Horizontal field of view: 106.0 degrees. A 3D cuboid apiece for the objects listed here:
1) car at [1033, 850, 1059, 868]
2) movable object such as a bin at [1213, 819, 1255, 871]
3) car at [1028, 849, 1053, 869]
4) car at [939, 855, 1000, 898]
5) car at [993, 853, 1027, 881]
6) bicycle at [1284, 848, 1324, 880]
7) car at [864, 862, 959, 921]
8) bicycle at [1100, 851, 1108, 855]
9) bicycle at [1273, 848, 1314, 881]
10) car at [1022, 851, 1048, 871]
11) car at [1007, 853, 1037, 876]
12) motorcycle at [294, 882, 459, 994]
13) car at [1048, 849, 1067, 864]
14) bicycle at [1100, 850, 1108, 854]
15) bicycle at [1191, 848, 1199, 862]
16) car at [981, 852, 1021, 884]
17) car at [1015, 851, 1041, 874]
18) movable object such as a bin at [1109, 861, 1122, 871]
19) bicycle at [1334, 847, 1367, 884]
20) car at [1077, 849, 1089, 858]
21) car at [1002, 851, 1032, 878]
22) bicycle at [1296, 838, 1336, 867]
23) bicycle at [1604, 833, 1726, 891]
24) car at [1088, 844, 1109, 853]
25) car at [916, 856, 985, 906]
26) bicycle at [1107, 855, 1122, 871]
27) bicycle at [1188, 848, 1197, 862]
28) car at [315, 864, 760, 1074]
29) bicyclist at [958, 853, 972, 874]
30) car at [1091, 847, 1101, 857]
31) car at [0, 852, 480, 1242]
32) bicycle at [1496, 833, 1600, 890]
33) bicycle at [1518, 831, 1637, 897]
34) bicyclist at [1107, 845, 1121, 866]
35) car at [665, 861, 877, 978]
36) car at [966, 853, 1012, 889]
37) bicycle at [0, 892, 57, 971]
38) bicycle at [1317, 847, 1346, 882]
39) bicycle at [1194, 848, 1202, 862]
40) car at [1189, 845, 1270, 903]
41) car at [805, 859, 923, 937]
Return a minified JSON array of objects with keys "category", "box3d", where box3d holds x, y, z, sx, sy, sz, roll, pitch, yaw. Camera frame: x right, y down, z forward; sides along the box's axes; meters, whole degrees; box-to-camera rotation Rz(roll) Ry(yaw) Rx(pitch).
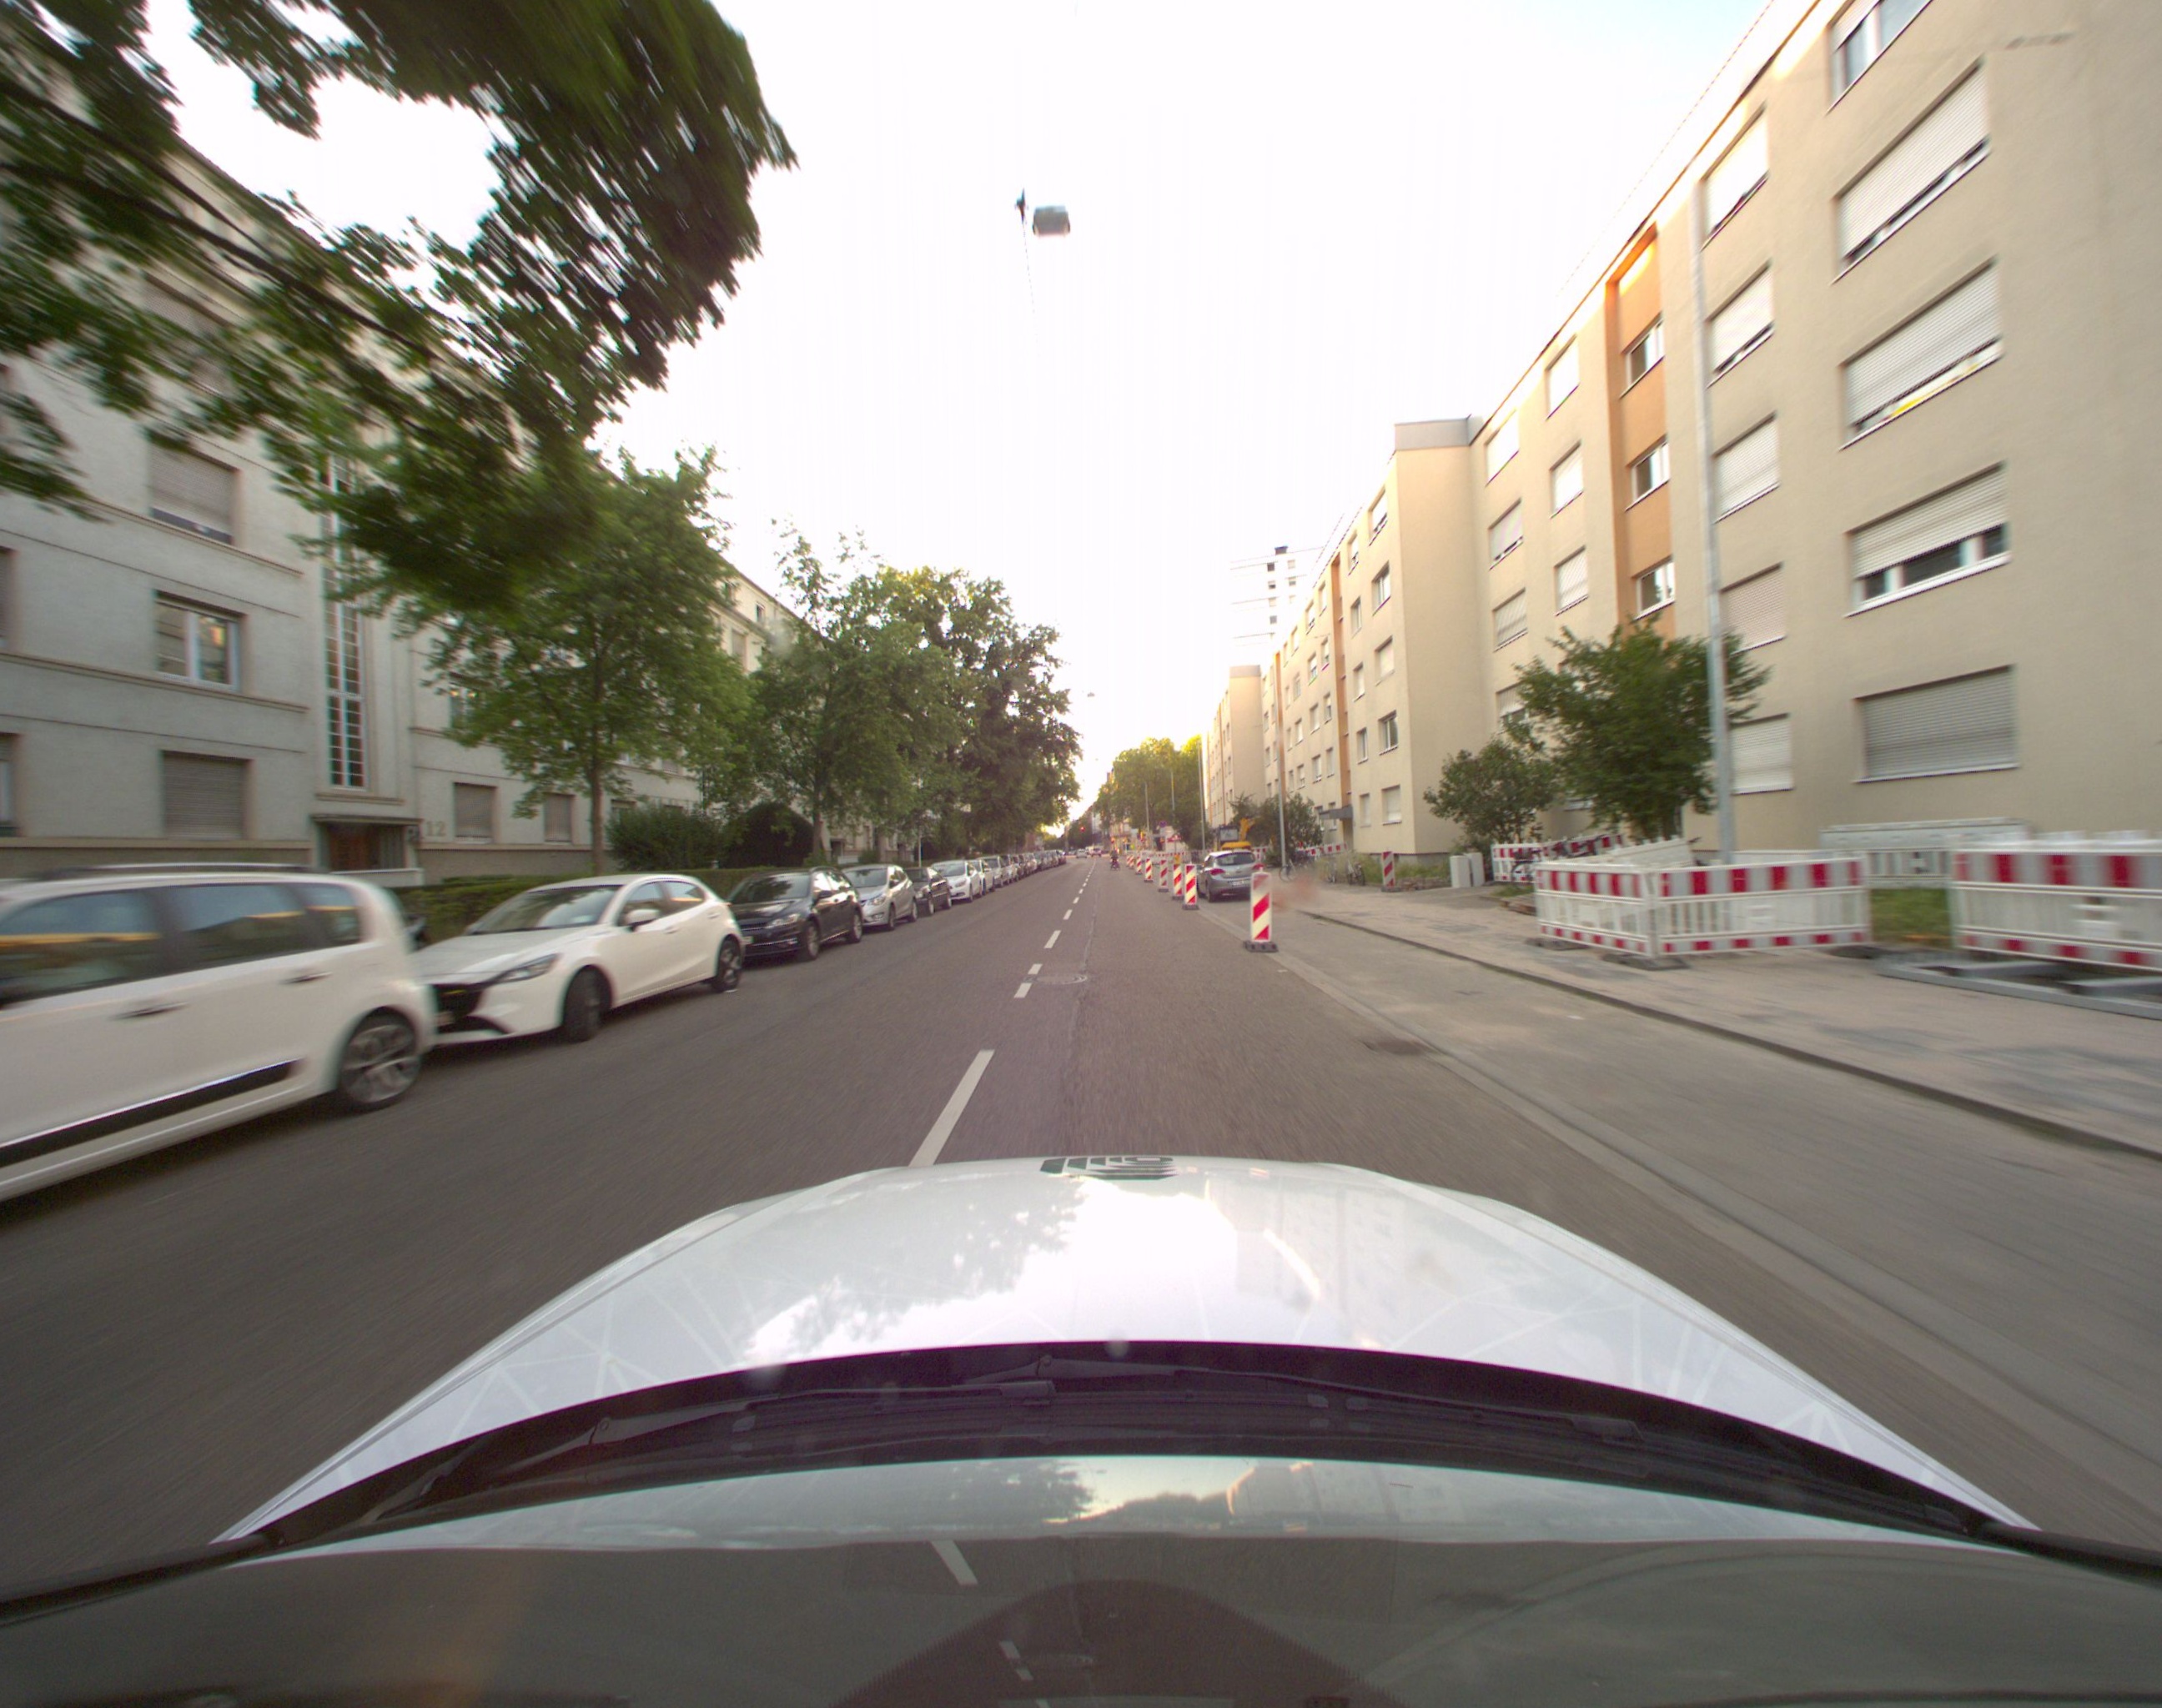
[{"category":"car","box3d":[-3.230,0.403,76.193,1.724,1.497,4.277,-4,0,6]},{"category":"movable object such as a bin","box3d":[8.325,-0.494,44.454,1.924,2.693,2.896,-2,0,6]},{"category":"car","box3d":[-3.516,0.412,71.390,1.701,1.600,4.118,-5,0,1]},{"category":"car","box3d":[-4.500,0.866,33.464,1.686,1.459,4.484,-5,0,1]},{"category":"car","box3d":[-4.211,0.745,48.750,1.585,1.466,4.101,-5,0,0]},{"category":"bicycle","box3d":[8.412,0.368,30.772,0.627,1.172,1.807,-2,0,-15]},{"category":"car","box3d":[-4.800,1.007,23.709,1.669,1.331,4.580,-5,0,1]},{"category":"bicycle","box3d":[6.133,-0.324,216.731,1.909,0.968,0.545,-2,0,-1]},{"category":"bicycle","box3d":[7.882,0.376,30.277,0.557,1.172,1.805,-2,0,-18]},{"category":"car","box3d":[-3.769,0.551,66.975,1.701,1.452,3.845,-5,0,2]},{"category":"car","box3d":[-4.126,0.690,57.173,1.584,1.404,4.182,-5,0,1]},{"category":"motorcycle","box3d":[-9.552,1.089,11.149,0.584,1.324,1.829,-2,0,2]},{"category":"car","box3d":[-2.746,0.287,96.749,1.947,1.616,4.606,-4,0,1]},{"category":"bicycle","box3d":[6.097,-0.440,216.713,1.909,0.968,0.545,-2,0,-1]},{"category":"bicycle","box3d":[10.002,0.060,71.282,0.396,1.222,1.910,-2,0,0]},{"category":"car","box3d":[-4.286,0.745,44.164,1.583,1.529,2.924,-5,0,3]},{"category":"car","box3d":[-4.038,0.609,62.582,1.585,1.538,4.205,-5,0,-1]},{"category":"movable object such as a bin","box3d":[2.716,0.948,63.645,0.936,0.689,0.993,-5,0,-1]},{"category":"bicycle","box3d":[8.822,0.358,26.689,0.553,1.172,1.819,-2,0,4]},{"category":"car","box3d":[0.313,-0.086,143.832,1.858,1.585,4.003,-3,0,3]},{"category":"car","box3d":[-4.136,0.655,53.024,1.518,1.529,3.164,-5,0,0]},{"category":"bicycle","box3d":[10.332,-0.077,35.857,1.590,1.222,0.484,-2,0,-5]},{"category":"bicycle","box3d":[10.238,0.164,14.334,0.559,0.865,1.600,-7,-1,-26]},{"category":"car","box3d":[4.801,-1.471,222.986,5.855,2.287,2.047,-2,0,-42]},{"category":"car","box3d":[-4.535,0.895,28.835,1.687,1.459,4.144,-5,0,0]},{"category":"bicycle","box3d":[2.671,0.719,65.319,0.936,1.172,2.358,-5,0,-1]},{"category":"bicycle","box3d":[9.726,0.064,71.194,0.450,1.222,1.910,-2,0,-1]},{"category":"car","box3d":[-5.176,0.958,8.547,1.745,1.479,3.947,-5,0,3]},{"category":"bicyclist","box3d":[-8.107,0.645,56.979,0.805,1.404,0.974,-2,0,1]},{"category":"car","box3d":[3.000,-0.396,160.789,1.860,1.815,3.999,-3,0,0]},{"category":"car","box3d":[-5.454,0.886,4.044,1.747,1.631,4.107,-5,0,0]},{"category":"bicycle","box3d":[9.921,0.153,17.361,1.742,0.986,0.559,-7,-1,10]},{"category":"bicycle","box3d":[9.506,0.197,15.630,1.804,1.022,0.558,-7,-1,2]},{"category":"bicyclist","box3d":[2.620,0.133,65.350,0.936,1.581,1.146,-5,0,-1]},{"category":"car","box3d":[-5.022,0.953,13.996,1.747,1.479,4.678,-5,0,0]},{"category":"car","box3d":[-4.434,0.797,39.668,1.584,1.505,3.800,-5,0,1]},{"category":"bicycle","box3d":[-16.812,1.205,12.184,0.553,1.172,1.819,-2,0,4]},{"category":"bicycle","box3d":[8.826,0.360,28.737,0.553,1.172,1.819,-2,0,4]},{"category":"bicycle","box3d":[10.250,0.055,71.211,0.396,1.222,1.825,-2,0,0]},{"category":"car","box3d":[4.565,0.564,25.620,1.769,1.490,4.576,-6,0,2]},{"category":"car","box3d":[-4.910,0.945,18.941,1.670,1.459,3.703,-5,0,-1]}]
